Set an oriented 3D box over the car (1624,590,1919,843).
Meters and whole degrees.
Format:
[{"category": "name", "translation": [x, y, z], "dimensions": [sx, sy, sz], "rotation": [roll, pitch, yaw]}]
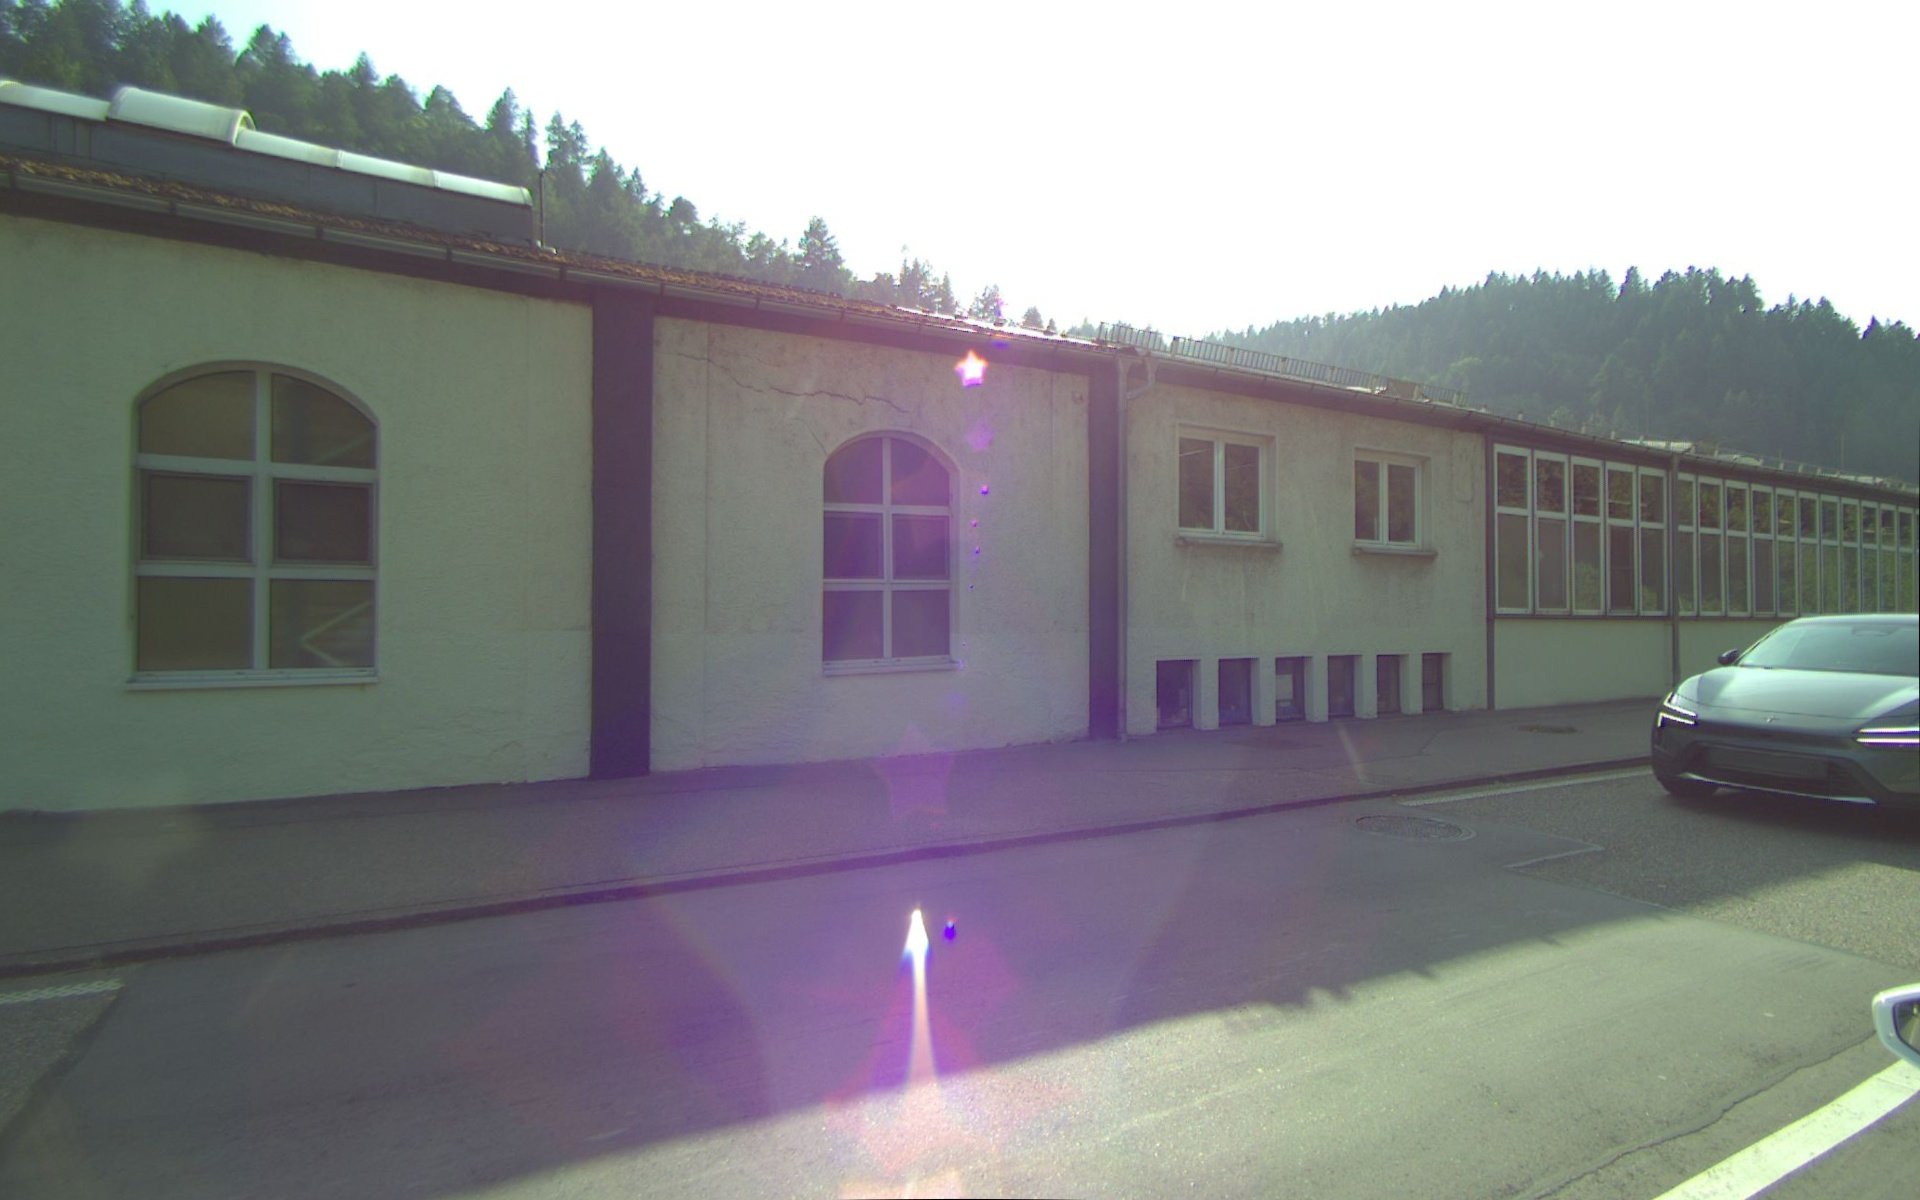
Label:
[{"category": "car", "translation": [7.700, 0.783, 8.306], "dimensions": [4.405, 1.602, 1.920], "rotation": [1, 1, -30]}]
